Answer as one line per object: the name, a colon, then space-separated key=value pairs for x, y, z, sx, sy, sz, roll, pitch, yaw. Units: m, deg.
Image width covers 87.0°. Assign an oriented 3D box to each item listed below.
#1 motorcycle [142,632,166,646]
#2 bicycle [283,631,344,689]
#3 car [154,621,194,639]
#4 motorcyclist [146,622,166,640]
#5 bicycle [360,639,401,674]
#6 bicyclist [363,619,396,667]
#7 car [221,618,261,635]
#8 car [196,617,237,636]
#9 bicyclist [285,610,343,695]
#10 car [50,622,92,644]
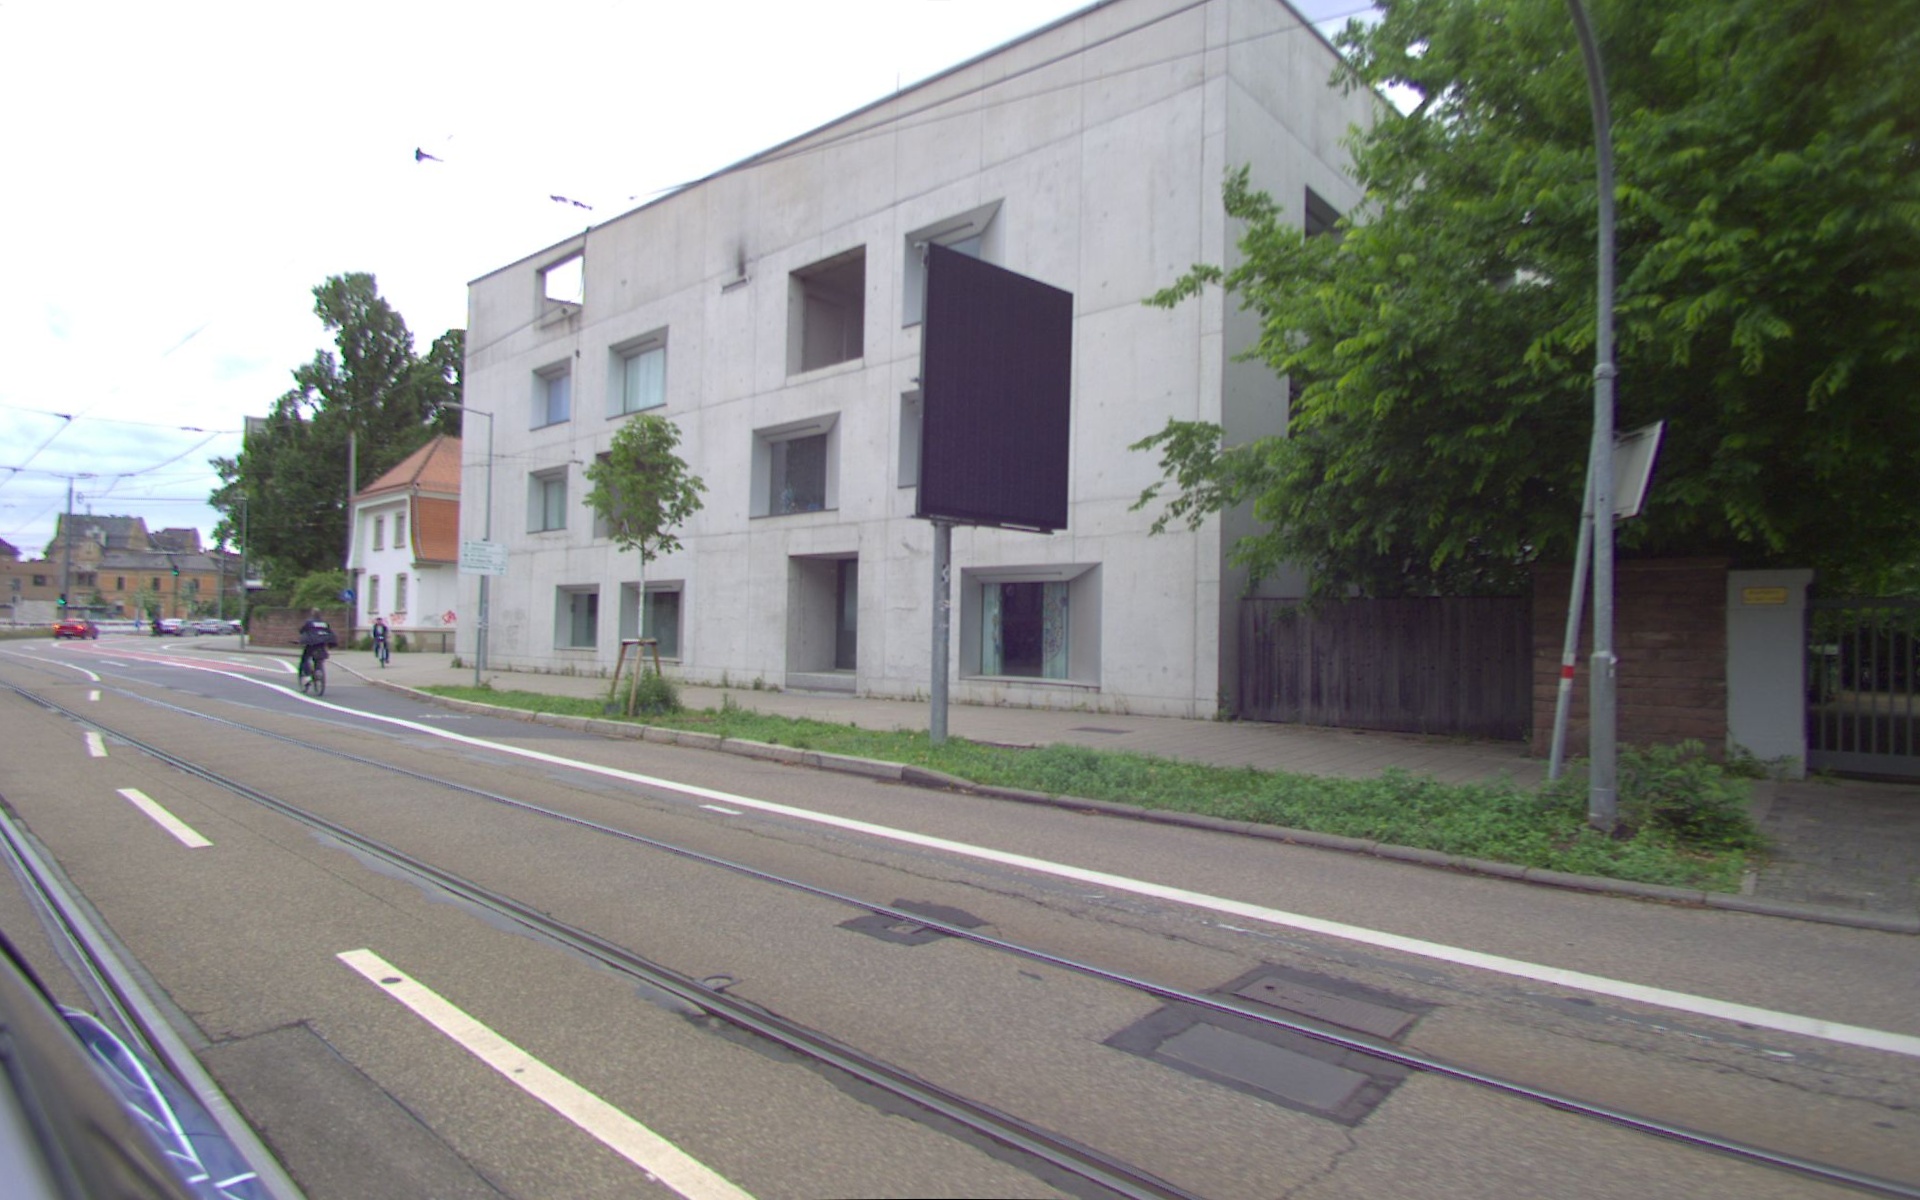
motorcycle: x=-67.097 y=3.254 z=84.270 sx=1.038 sy=1.077 sz=2.657 roll=2 pitch=-2 yaw=-26
bicycle: x=-14.288 y=1.309 z=22.344 sx=0.781 sy=1.195 sz=2.013 roll=7 pitch=-6 yaw=-40
car: x=-68.533 y=2.578 z=88.311 sx=1.469 sy=1.520 sz=3.479 roll=2 pitch=-2 yaw=-15
motorcyclist: x=-67.302 y=2.563 z=84.749 sx=1.058 sy=1.497 sz=1.255 roll=2 pitch=-2 yaw=-27
bicycle: x=-21.184 y=2.067 z=36.982 sx=1.869 sy=1.221 sz=0.765 roll=-1 pitch=-3 yaw=43
bicyclist: x=-21.268 y=1.574 z=37.096 sx=0.869 sy=1.703 sz=0.765 roll=-1 pitch=-3 yaw=43
car: x=-71.843 y=2.671 z=101.238 sx=1.757 sy=1.623 sz=4.335 roll=1 pitch=-2 yaw=-14
car: x=-70.360 y=2.522 z=95.837 sx=1.658 sy=1.663 sz=3.991 roll=1 pitch=-2 yaw=-14
bicyclist: x=-14.245 y=1.152 z=22.309 sx=0.781 sy=1.797 sz=1.149 roll=7 pitch=-6 yaw=-40
car: x=-63.810 y=2.348 z=72.662 sx=1.732 sy=1.511 sz=4.010 roll=4 pitch=-3 yaw=-35
